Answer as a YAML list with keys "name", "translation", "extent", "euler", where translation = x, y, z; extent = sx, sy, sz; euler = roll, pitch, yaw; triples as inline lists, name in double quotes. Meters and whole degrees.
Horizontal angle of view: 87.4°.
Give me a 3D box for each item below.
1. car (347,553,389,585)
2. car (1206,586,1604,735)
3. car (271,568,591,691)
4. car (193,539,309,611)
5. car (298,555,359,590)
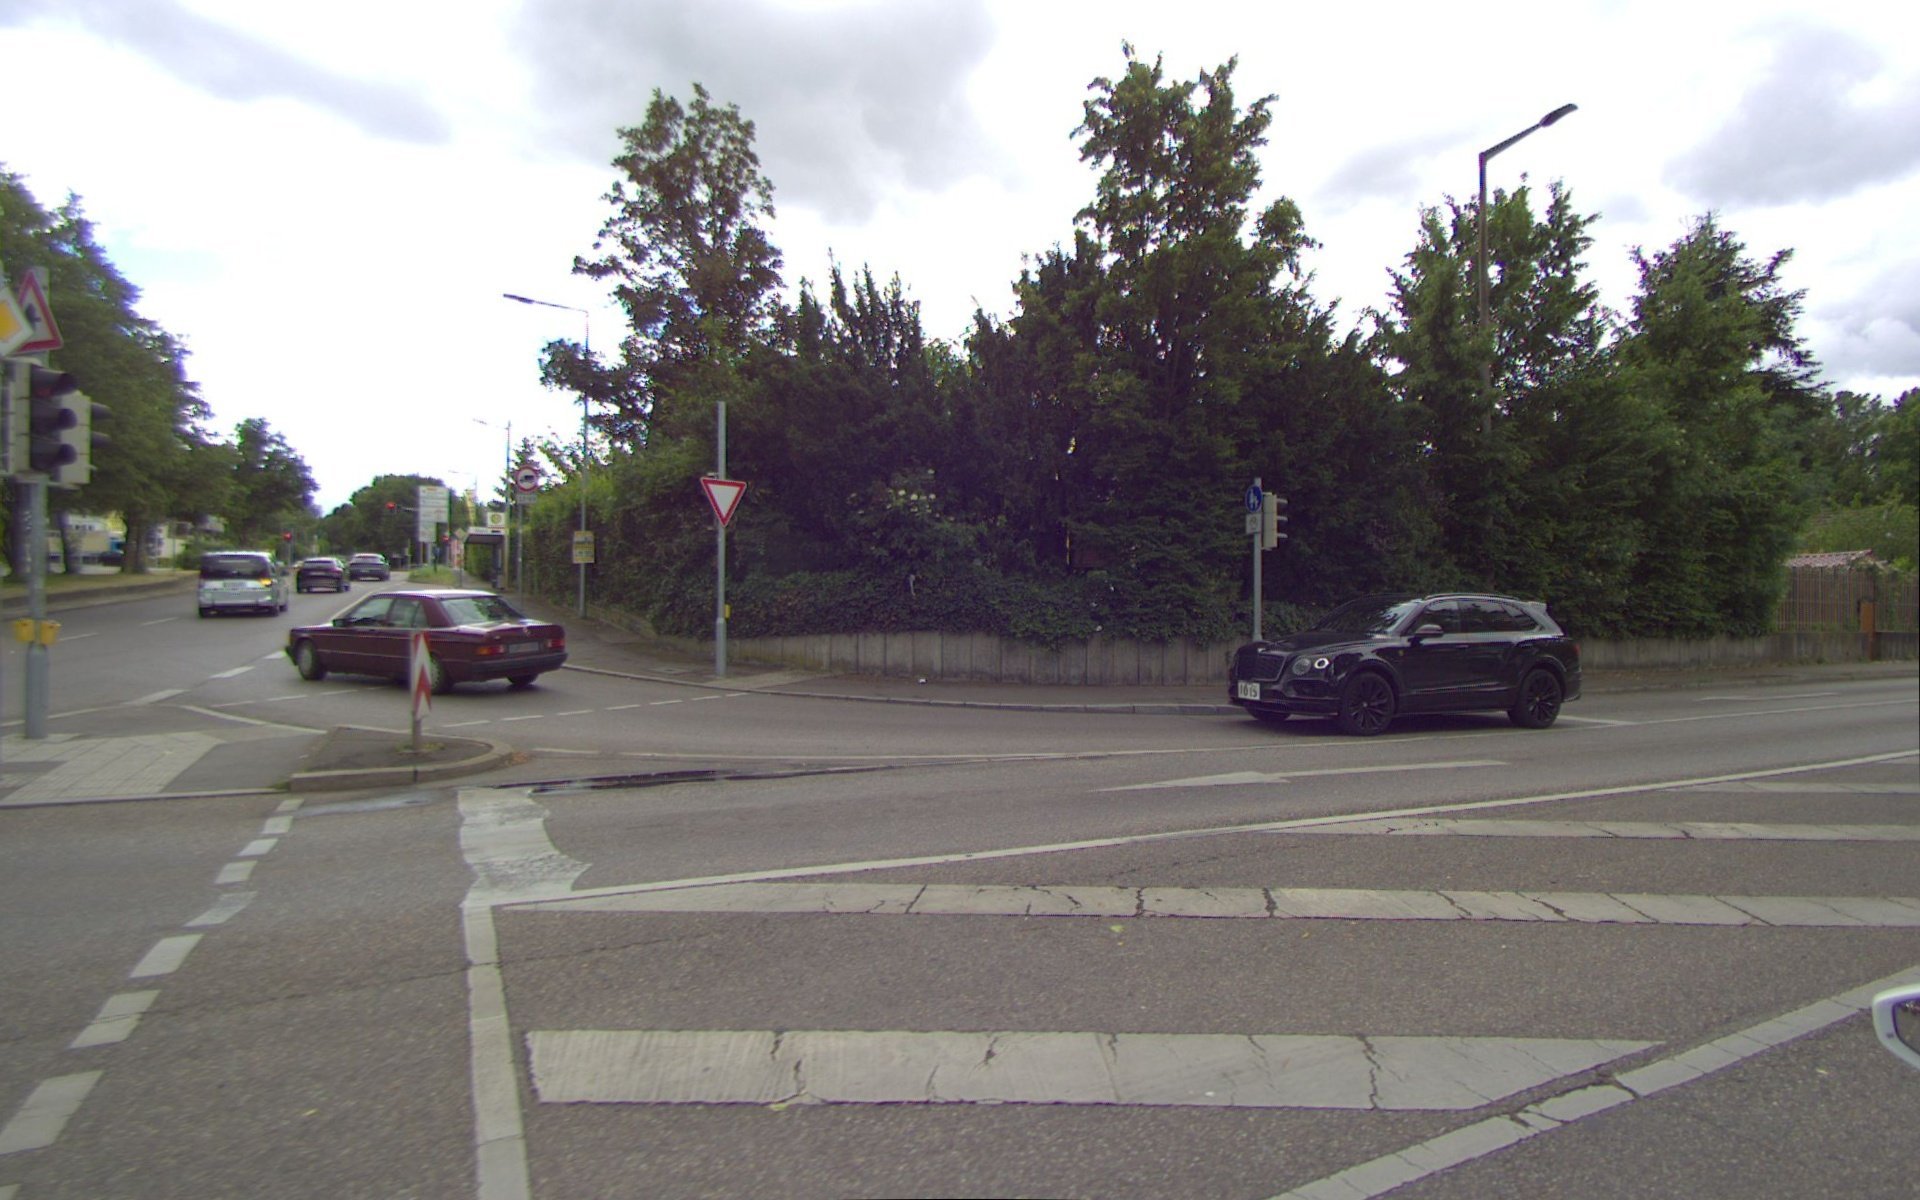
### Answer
- name: "car"
  translation: [-37.571, -1.922, 63.859]
  extent: [1.924, 1.836, 4.414]
  euler: [1, 0, -26]
- name: "car"
  translation: [5.927, 0.754, 13.348]
  extent: [5.006, 1.701, 1.898]
  euler: [1, -1, -22]
- name: "car"
  translation: [-7.662, 0.360, 14.548]
  extent: [4.258, 1.484, 1.747]
  euler: [2, 0, 22]
- name: "car"
  translation: [-20.618, -0.692, 29.429]
  extent: [1.922, 1.899, 4.514]
  euler: [1, 0, -24]
- name: "car"
  translation: [-28.754, -1.229, 45.838]
  extent: [1.924, 1.442, 4.510]
  euler: [1, 0, -27]
